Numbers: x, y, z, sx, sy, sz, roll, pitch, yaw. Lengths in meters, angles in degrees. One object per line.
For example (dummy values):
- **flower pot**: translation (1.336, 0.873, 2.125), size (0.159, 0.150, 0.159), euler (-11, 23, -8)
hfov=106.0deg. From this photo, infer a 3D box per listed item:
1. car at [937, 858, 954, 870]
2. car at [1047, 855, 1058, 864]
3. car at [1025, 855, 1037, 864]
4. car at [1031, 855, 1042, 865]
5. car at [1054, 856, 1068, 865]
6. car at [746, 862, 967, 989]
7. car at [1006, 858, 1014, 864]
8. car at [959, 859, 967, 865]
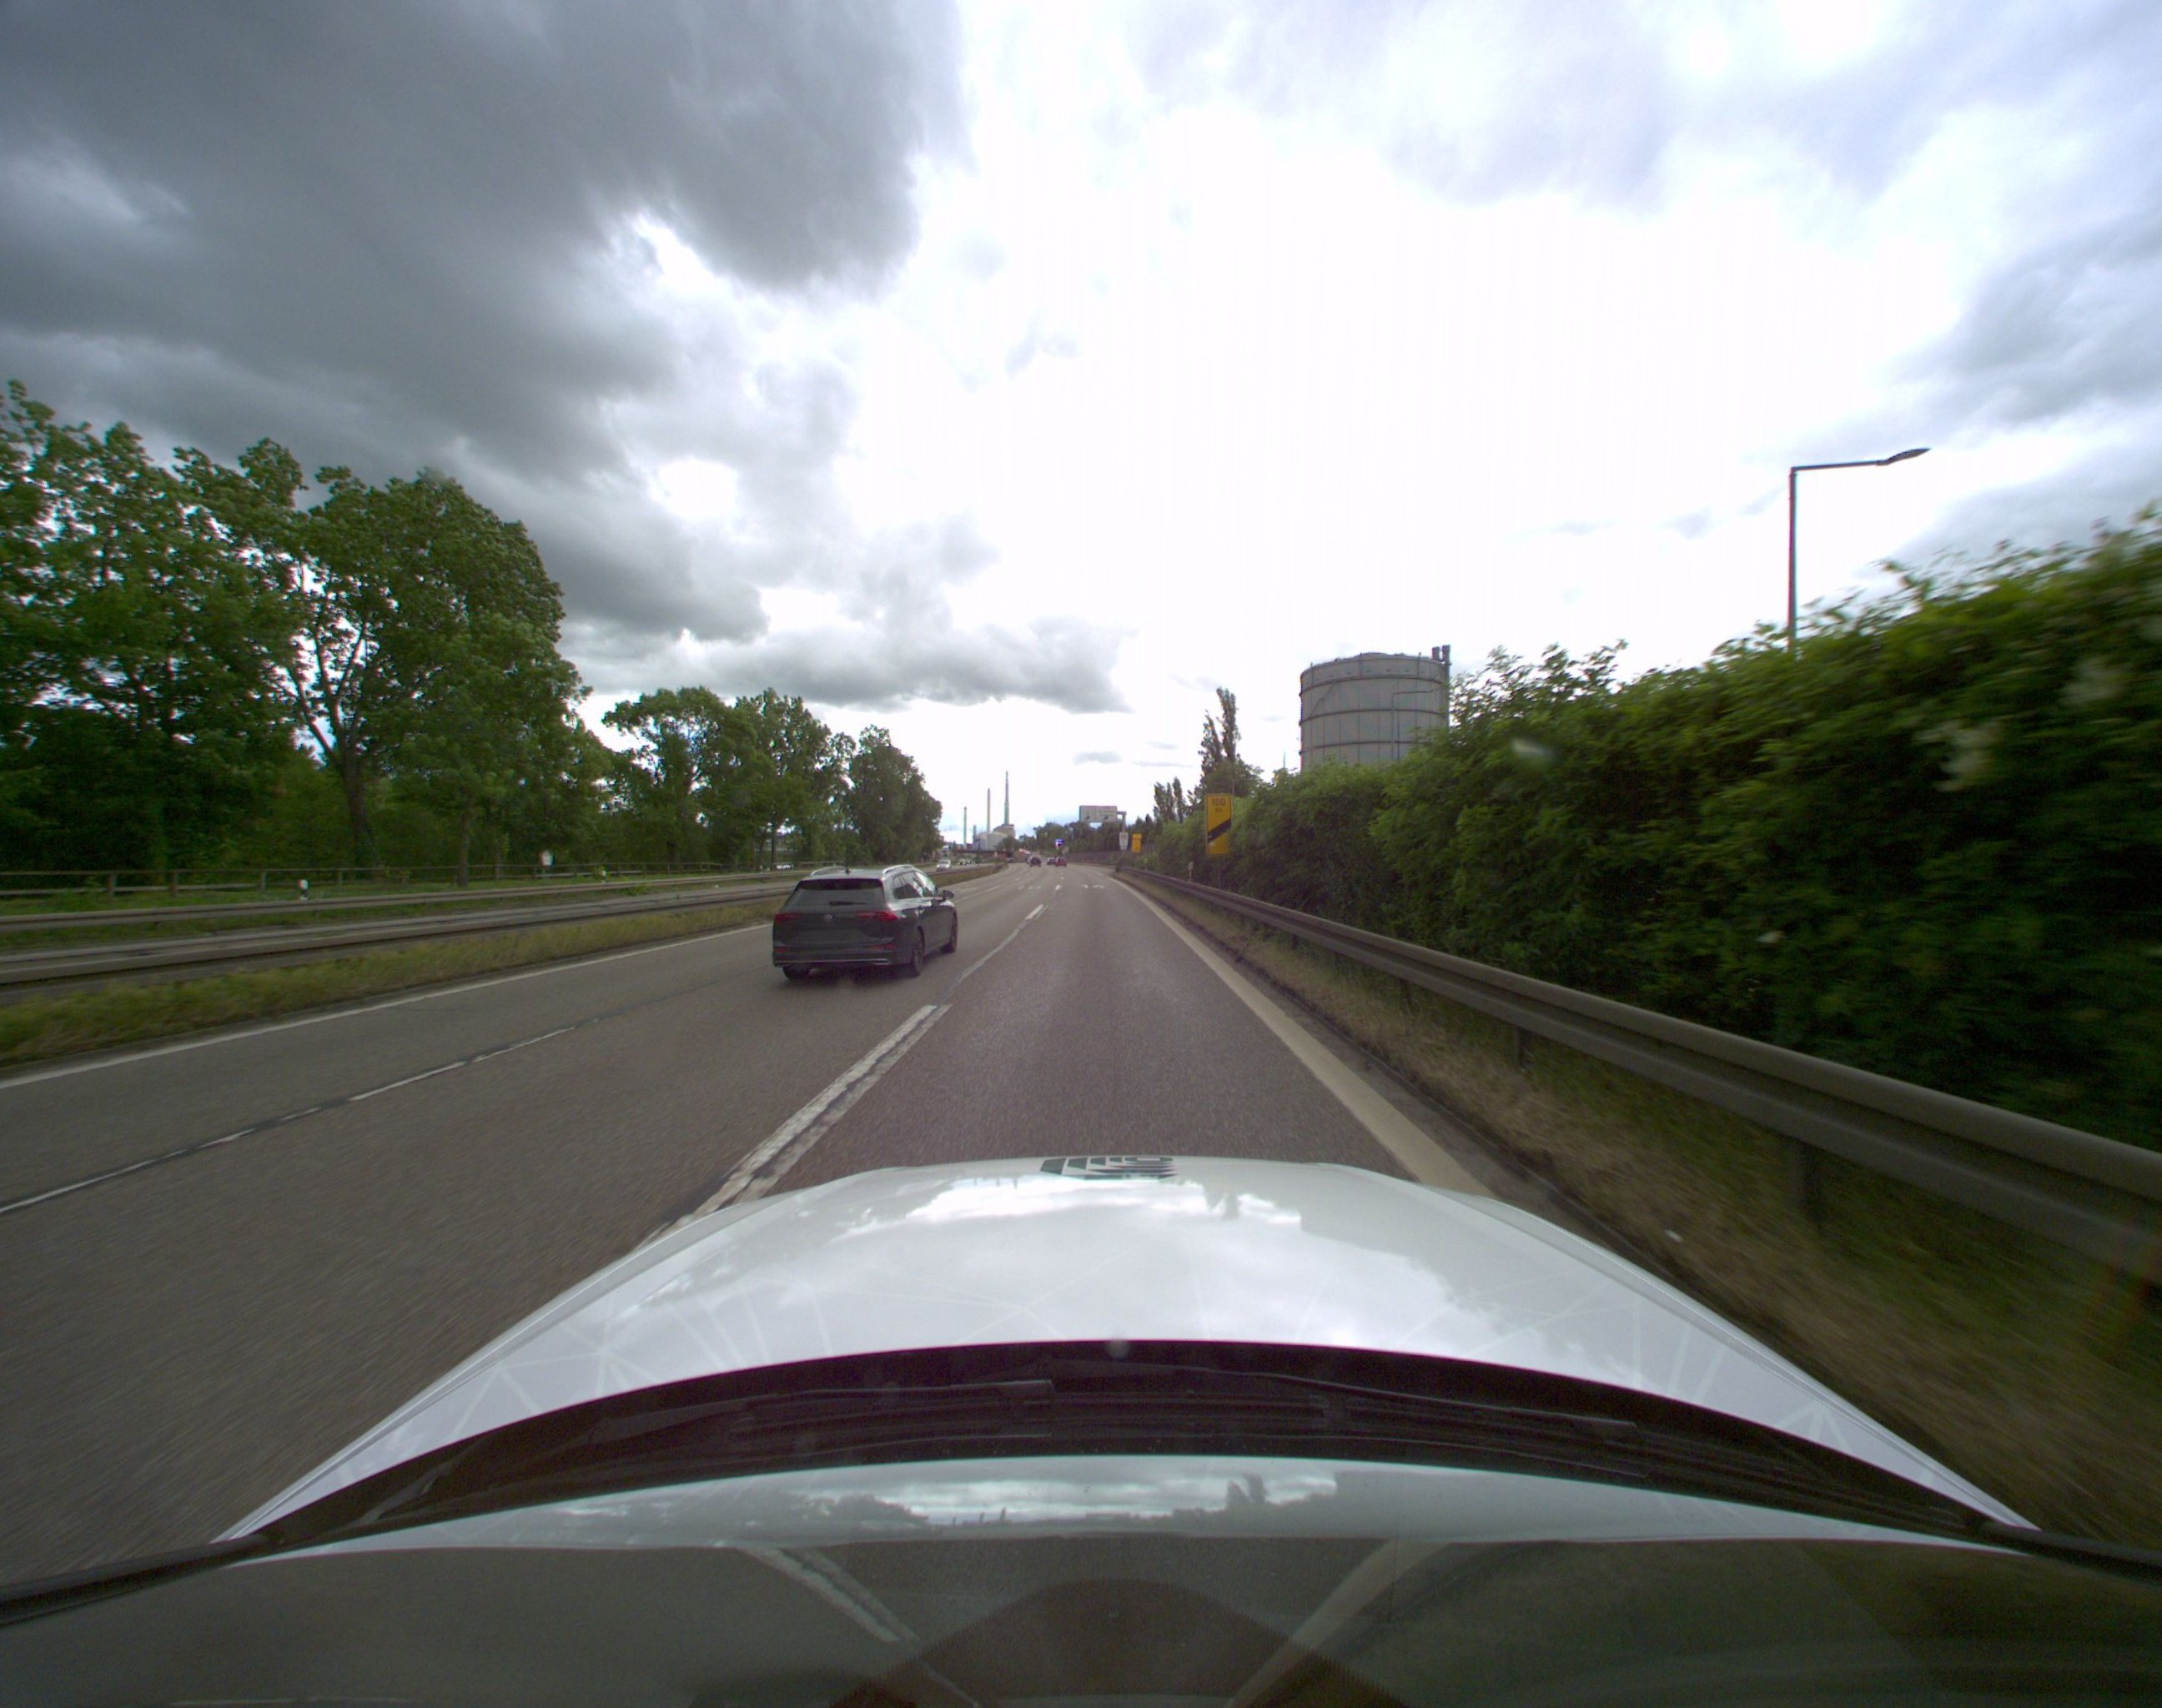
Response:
- **car**: translation (-16.877, 1.244, 101.578), size (1.610, 1.386, 3.730), euler (0, 0, -2)
- **car**: translation (-5.781, 1.021, 163.103), size (1.697, 1.742, 4.379), euler (-1, 0, -9)
- **car**: translation (-11.683, 1.303, 189.460), size (2.015, 1.934, 4.879), euler (-1, 0, -12)
- **car**: translation (-7.818, 1.075, 142.210), size (1.696, 1.742, 3.990), euler (-1, 0, -7)
- **car**: translation (-3.253, 1.053, 134.730), size (1.971, 1.423, 4.891), euler (-1, 0, -5)
- **car**: translation (-2.975, 0.862, 12.014), size (1.838, 1.423, 4.901), euler (0, 0, 1)
- **car**: translation (-19.829, 1.896, 228.221), size (1.699, 1.742, 4.375), euler (-1, 0, -12)
- **car**: translation (-28.620, 2.004, 197.162), size (1.696, 1.413, 4.626), euler (-2, 0, -7)
